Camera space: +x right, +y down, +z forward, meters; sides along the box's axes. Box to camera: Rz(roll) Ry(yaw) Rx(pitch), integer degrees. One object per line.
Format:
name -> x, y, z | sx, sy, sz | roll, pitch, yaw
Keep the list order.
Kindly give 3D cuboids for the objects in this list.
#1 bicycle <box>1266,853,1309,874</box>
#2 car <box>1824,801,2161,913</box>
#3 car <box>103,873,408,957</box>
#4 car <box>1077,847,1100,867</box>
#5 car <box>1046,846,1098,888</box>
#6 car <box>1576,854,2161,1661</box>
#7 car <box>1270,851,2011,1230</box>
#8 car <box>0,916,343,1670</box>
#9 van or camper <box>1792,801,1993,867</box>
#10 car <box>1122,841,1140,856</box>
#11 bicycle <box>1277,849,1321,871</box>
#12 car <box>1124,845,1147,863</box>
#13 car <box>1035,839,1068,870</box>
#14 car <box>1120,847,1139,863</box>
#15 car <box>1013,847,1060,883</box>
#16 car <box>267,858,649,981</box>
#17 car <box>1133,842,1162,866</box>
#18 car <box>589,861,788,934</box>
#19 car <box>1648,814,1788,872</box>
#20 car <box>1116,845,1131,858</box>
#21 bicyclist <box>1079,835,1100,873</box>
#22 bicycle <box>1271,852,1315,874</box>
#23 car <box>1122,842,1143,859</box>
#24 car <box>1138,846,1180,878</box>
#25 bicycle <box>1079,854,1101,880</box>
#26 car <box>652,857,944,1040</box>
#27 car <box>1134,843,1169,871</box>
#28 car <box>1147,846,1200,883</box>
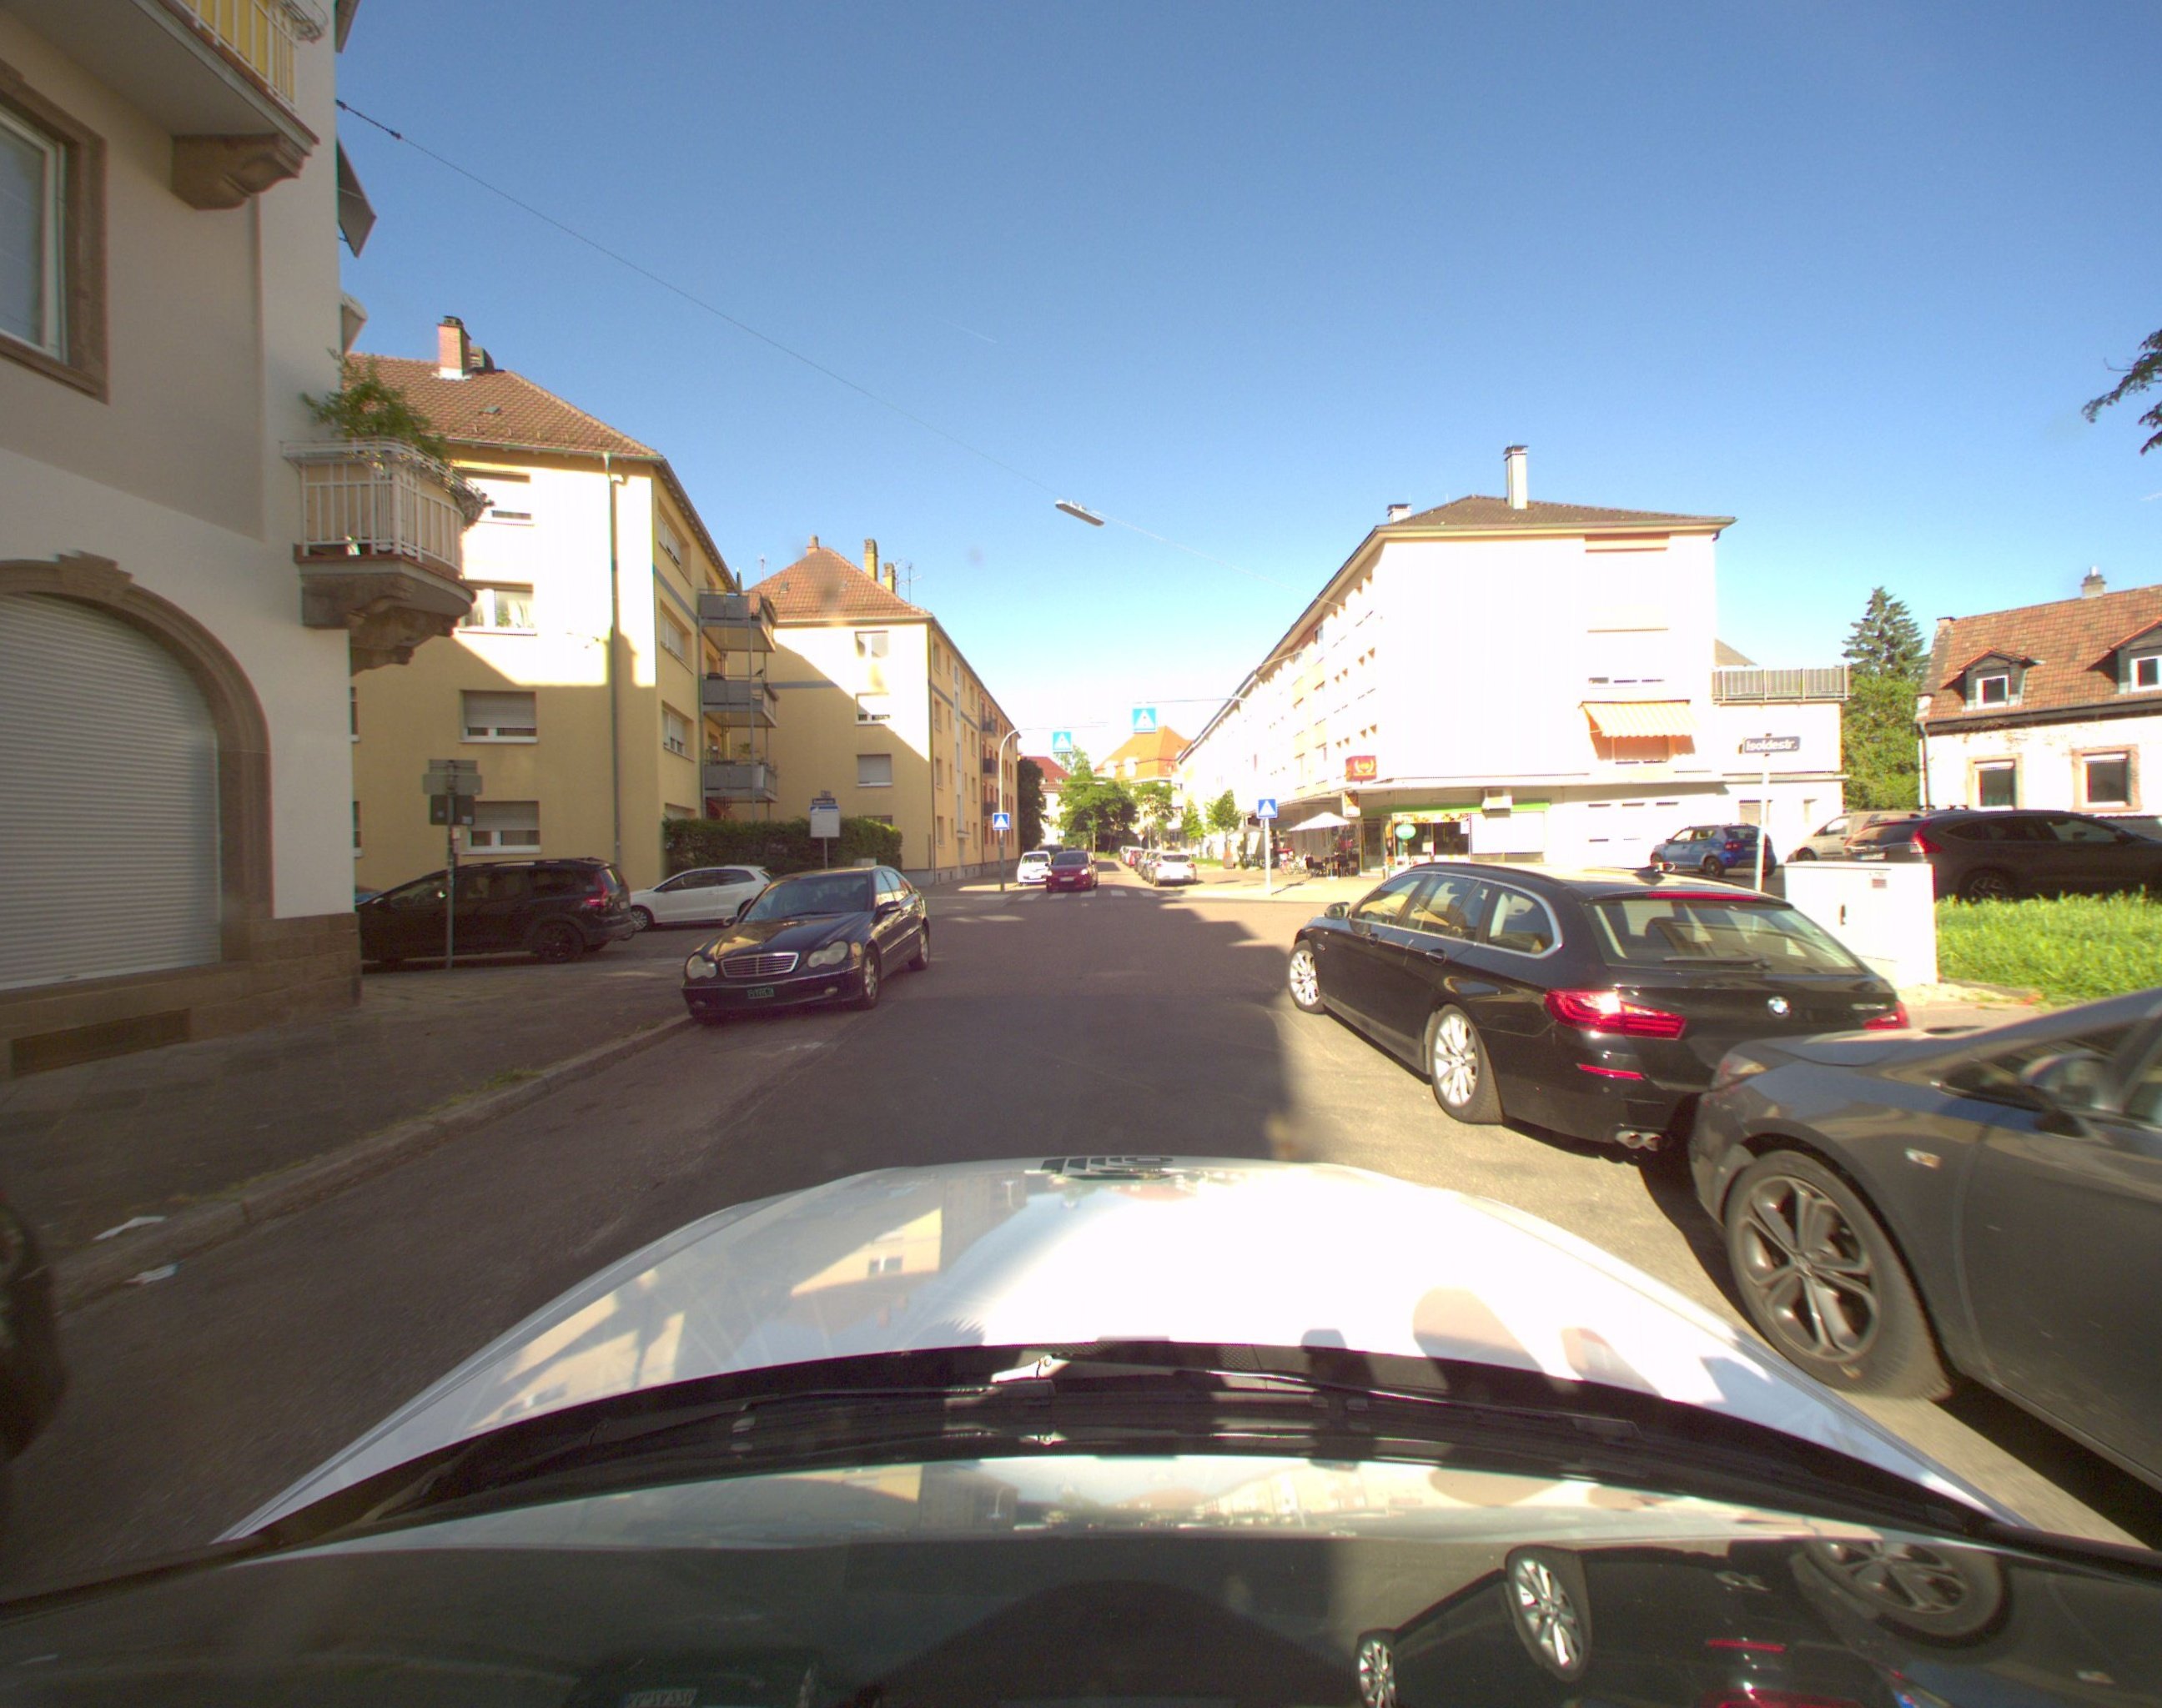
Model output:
bicycle -> 9.705, 0.441, 38.305 | 1.806, 0.967, 0.671 | -2, 0, -9
car -> 15.089, 0.036, 13.208 | 4.220, 1.613, 1.828 | -1, 0, 7
car -> -16.981, 1.197, 17.002 | 4.116, 1.446, 1.680 | -2, 0, -17
car -> 0.582, 0.219, 61.165 | 1.632, 1.440, 3.419 | -1, 0, 0
car -> -0.281, 0.450, 30.222 | 1.690, 1.440, 3.422 | -1, 0, 3
car -> 2.779, 0.732, 1.296 | 1.639, 1.460, 3.940 | -1, 0, 1
car -> 2.881, 0.768, 5.748 | 1.849, 1.523, 4.774 | -1, 0, -2
car -> -2.968, 0.956, 0.265 | 1.640, 1.416, 4.079 | -6, 0, -1
van or camper -> 24.844, -0.582, 25.196 | 1.766, 1.813, 4.477 | -1, 0, 0
car -> 4.923, -0.523, 80.983 | 1.632, 1.440, 3.419 | -1, 0, 1
bicycle -> 9.906, 0.276, 37.043 | 1.806, 0.967, 0.671 | -2, 0, -9
car -> 4.364, -0.015, 65.608 | 1.632, 1.440, 3.419 | -1, 0, 1
car -> -1.748, 0.002, 49.773 | 1.691, 1.778, 4.101 | -1, 0, 2
car -> 4.546, 0.060, 76.369 | 1.632, 1.440, 3.419 | -1, 0, 1
car -> -2.061, 0.482, 38.775 | 1.785, 1.480, 4.101 | -3, 1, 2
car -> -9.662, 0.942, 13.091 | 4.475, 1.615, 1.768 | -2, 0, -17
car -> 4.361, -0.014, 54.036 | 1.632, 1.440, 3.419 | -1, 0, 0
car -> -9.138, 0.972, 19.318 | 3.988, 1.479, 1.586 | -2, 0, -17
car -> 19.492, -0.329, 25.112 | 1.574, 1.613, 3.475 | -1, 0, 0
car -> 5.203, -0.305, 100.194 | 1.632, 1.440, 3.419 | -1, 0, 1
bicyclist -> 0.378, -0.005, 35.582 | 0.782, 1.621, 0.958 | -3, 0, 6
bicycle -> 9.803, 0.406, 37.674 | 1.806, 0.967, 0.671 | -2, 0, -9
car -> 4.544, -0.296, 71.746 | 1.632, 1.440, 3.419 | -1, 0, 1
car -> 3.706, 0.341, 39.069 | 1.685, 1.440, 3.419 | -1, 0, 0
bicycle -> 0.416, 0.558, 35.625 | 0.774, 1.069, 1.793 | -1, 0, 6
car -> -2.820, 0.826, 9.251 | 1.699, 1.416, 4.372 | -6, 0, -1
car -> 3.861, 0.166, 44.931 | 1.632, 1.440, 3.419 | -1, 0, 0
car -> 3.827, 0.394, 34.297 | 1.839, 1.440, 3.419 | -1, 0, 0
